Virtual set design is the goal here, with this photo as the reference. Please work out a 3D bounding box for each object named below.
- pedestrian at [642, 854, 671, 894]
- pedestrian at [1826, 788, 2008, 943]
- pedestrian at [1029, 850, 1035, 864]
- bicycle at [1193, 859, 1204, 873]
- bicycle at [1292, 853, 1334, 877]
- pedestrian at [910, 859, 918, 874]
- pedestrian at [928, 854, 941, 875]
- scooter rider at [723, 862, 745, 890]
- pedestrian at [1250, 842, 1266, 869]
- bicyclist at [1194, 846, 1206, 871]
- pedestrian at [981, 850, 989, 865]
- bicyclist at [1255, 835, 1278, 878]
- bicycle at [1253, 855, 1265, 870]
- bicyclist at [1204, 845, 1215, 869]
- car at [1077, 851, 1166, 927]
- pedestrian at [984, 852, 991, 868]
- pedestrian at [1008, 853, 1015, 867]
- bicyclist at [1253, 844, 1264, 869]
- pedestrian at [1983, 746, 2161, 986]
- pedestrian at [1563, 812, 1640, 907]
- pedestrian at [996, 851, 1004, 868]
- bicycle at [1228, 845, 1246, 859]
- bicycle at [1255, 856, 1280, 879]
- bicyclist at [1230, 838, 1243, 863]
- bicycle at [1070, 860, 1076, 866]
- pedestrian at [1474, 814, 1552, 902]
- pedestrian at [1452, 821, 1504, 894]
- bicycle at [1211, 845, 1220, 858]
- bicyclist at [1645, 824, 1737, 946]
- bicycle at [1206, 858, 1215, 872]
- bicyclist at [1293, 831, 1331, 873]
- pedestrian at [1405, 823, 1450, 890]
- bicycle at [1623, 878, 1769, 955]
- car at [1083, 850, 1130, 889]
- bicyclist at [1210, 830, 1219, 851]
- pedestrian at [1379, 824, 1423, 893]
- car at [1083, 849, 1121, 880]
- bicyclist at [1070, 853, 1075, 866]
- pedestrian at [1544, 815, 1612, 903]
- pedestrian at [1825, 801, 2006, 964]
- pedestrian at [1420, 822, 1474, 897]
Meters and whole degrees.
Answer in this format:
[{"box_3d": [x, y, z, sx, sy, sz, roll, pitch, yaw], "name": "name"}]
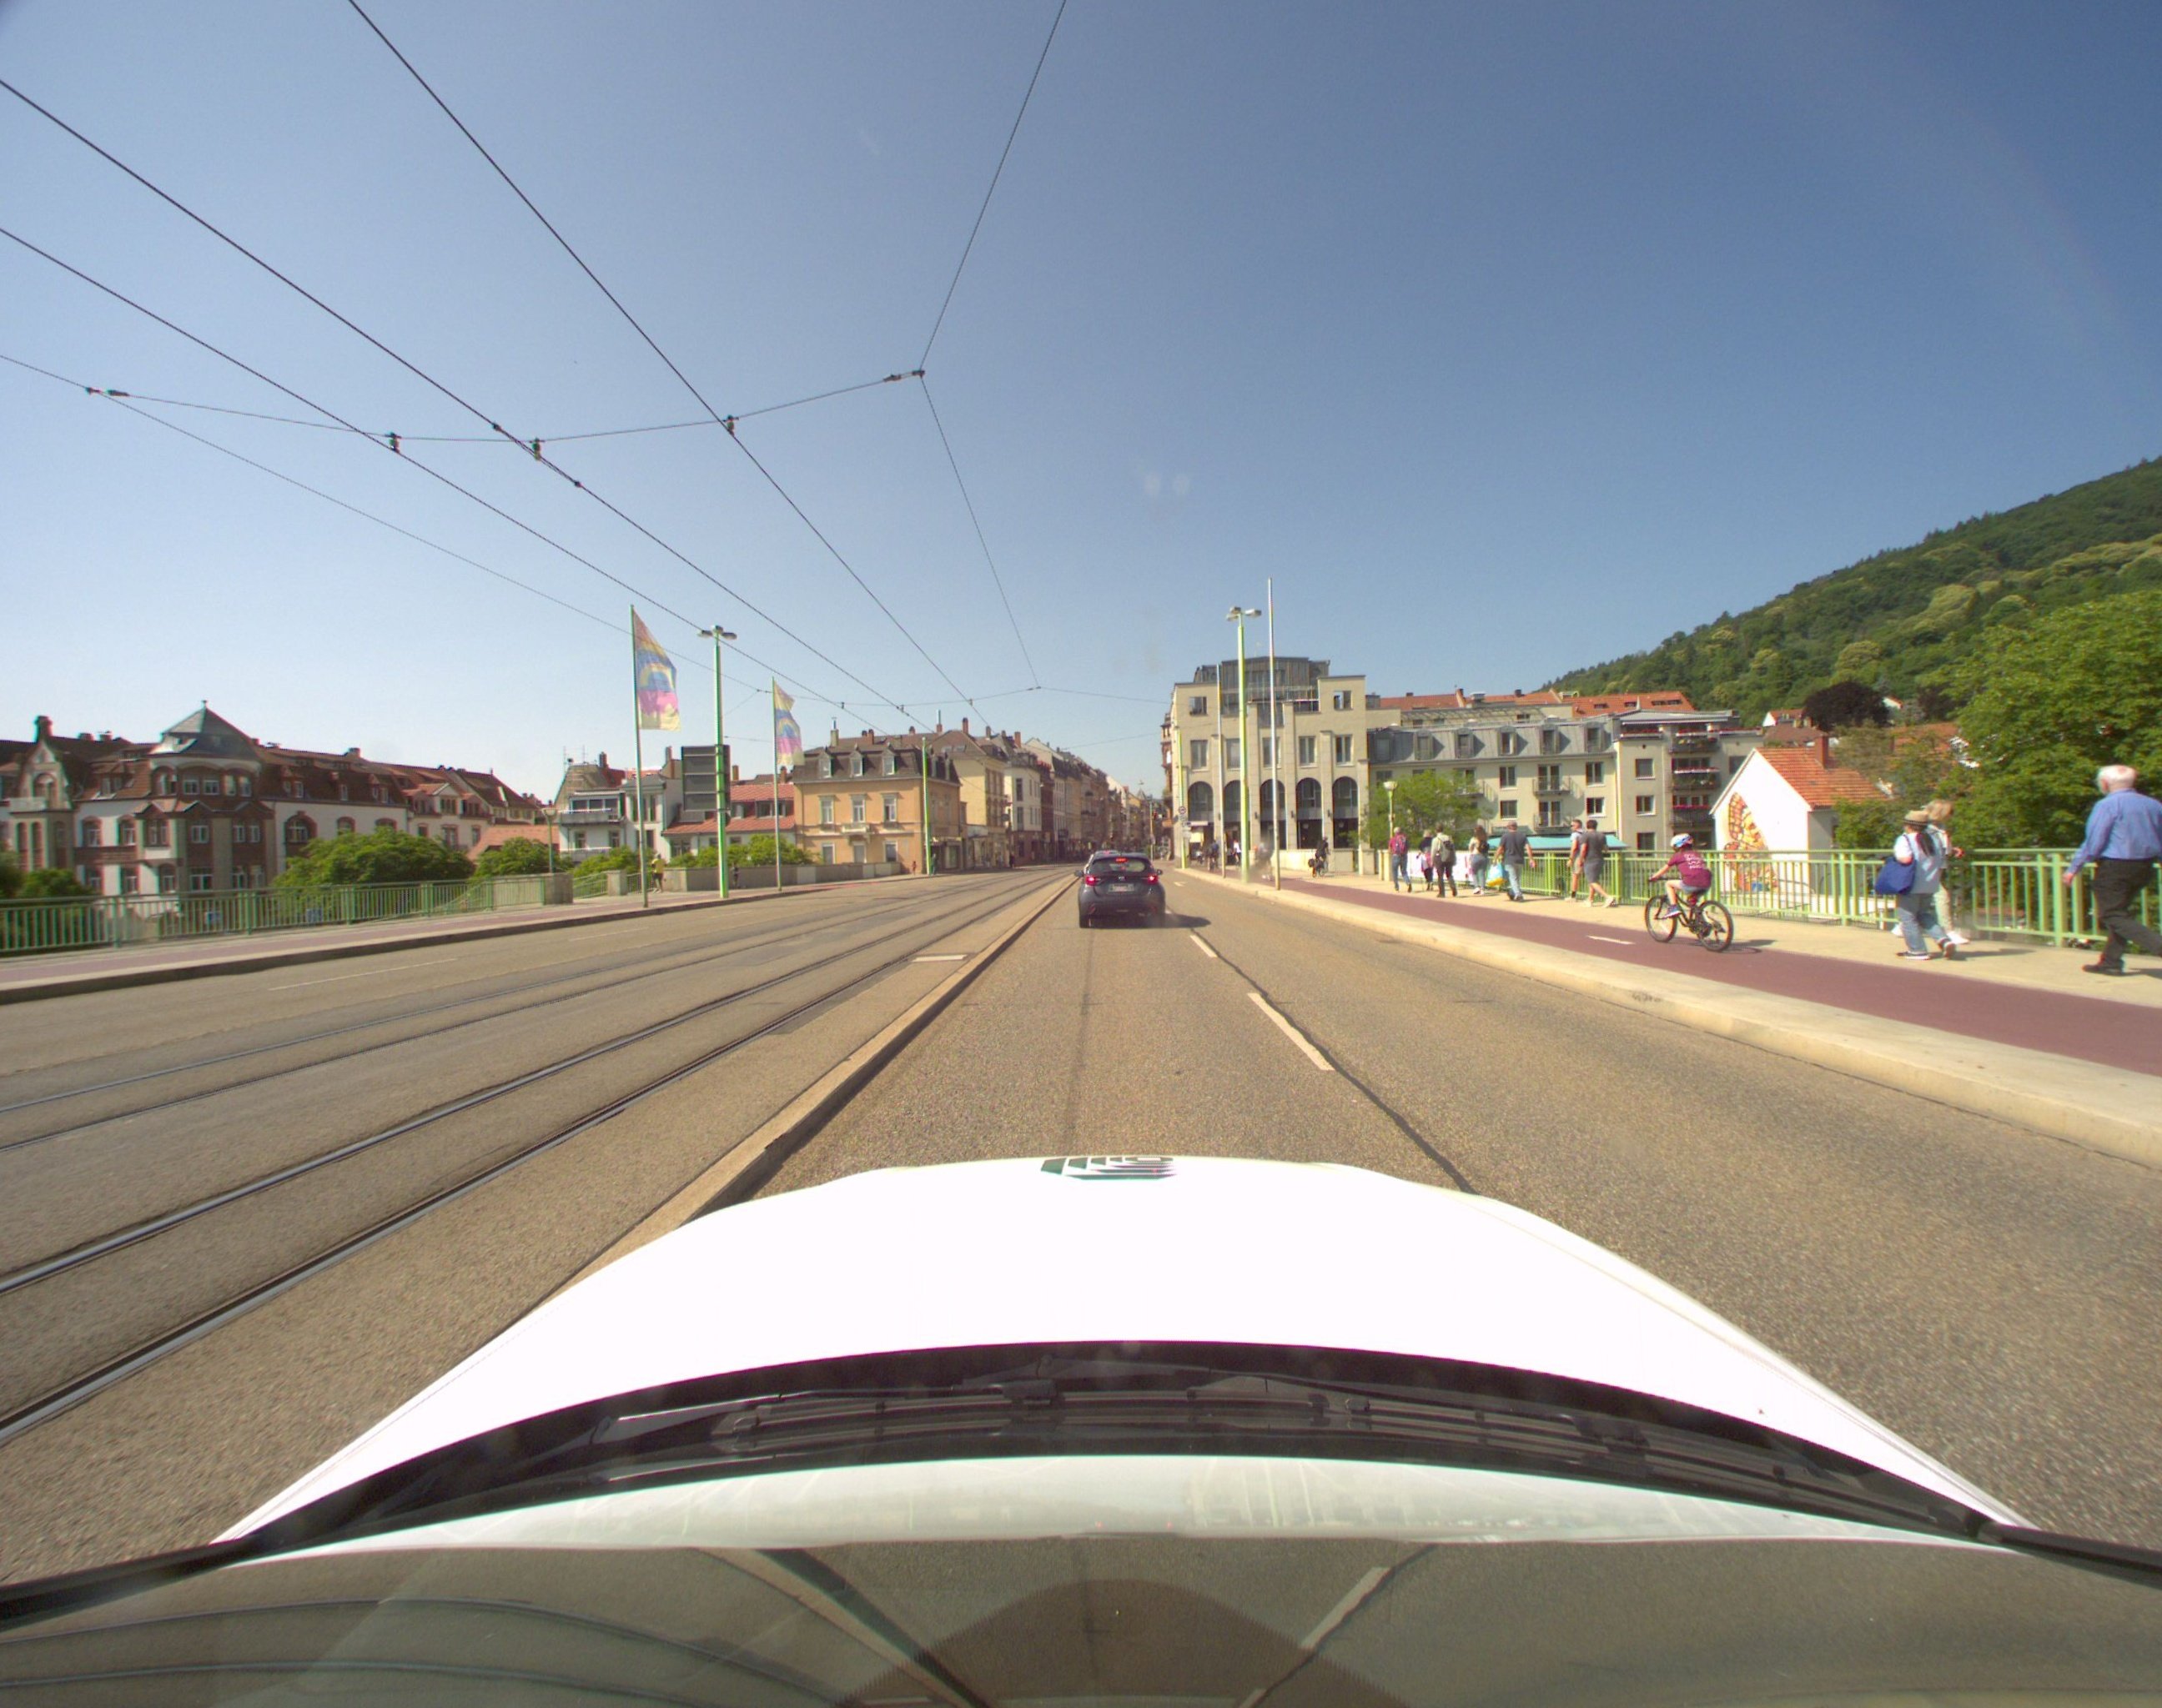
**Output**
[{"box_3d": [-19.302, 0.896, 37.065, 0.740, 1.781, 0.805, -3, 0, 14], "name": "pedestrian"}, {"box_3d": [9.734, 0.121, 9.540, 0.944, 1.662, 1.083, -3, 0, 1], "name": "pedestrian"}, {"box_3d": [-6.412, 0.362, 107.009, 0.734, 1.766, 0.787, -1, 1, 2], "name": "pedestrian"}, {"box_3d": [12.566, 1.270, 86.898, 1.105, 1.420, 3.014, 3, 0, 9], "name": "bicycle"}, {"box_3d": [9.712, 0.455, 34.051, 1.838, 0.882, 0.791, -3, 0, -41], "name": "bicycle"}, {"box_3d": [-13.287, 1.005, 64.855, 0.409, 1.146, 0.546, 3, 0, 9], "name": "pedestrian"}, {"box_3d": [-11.903, 0.873, 66.241, 0.758, 1.654, 0.713, 3, 0, 8], "name": "pedestrian"}, {"box_3d": [-17.303, 1.096, 40.597, 0.763, 1.315, 0.600, 2, 0, 13], "name": "scooter rider"}, {"box_3d": [10.883, 0.082, 50.004, 0.736, 1.614, 1.016, 3, 0, 1], "name": "pedestrian"}, {"box_3d": [12.761, 0.474, 87.244, 1.221, 2.529, 1.107, 3, 0, 8], "name": "bicyclist"}, {"box_3d": [-10.222, 0.384, 86.595, 0.646, 1.602, 0.566, 3, 2, 2], "name": "pedestrian"}, {"box_3d": [7.582, 0.100, 33.335, 0.699, 1.695, 0.925, -3, 0, 2], "name": "bicyclist"}, {"box_3d": [9.883, 0.463, 45.210, 0.415, 0.765, 0.962, -3, 0, 2], "name": "bicycle"}, {"box_3d": [7.393, 0.152, 46.752, 0.535, 1.316, 0.673, -4, 0, 7], "name": "bicyclist"}, {"box_3d": [0.836, 0.670, 17.576, 1.713, 1.473, 3.659, 0, 0, 2], "name": "car"}, {"box_3d": [-9.526, 0.609, 82.963, 0.646, 1.602, 0.566, 3, 2, 2], "name": "pedestrian"}, {"box_3d": [-7.952, 0.662, 93.557, 0.646, 1.602, 0.566, 3, 2, 2], "name": "pedestrian"}, {"box_3d": [9.857, 0.138, 45.231, 0.420, 1.383, 0.444, -3, 0, 2], "name": "bicyclist"}, {"box_3d": [8.883, 0.077, 7.003, 0.922, 1.897, 1.137, -2, 0, 1], "name": "pedestrian"}, {"box_3d": [9.893, 0.094, 15.524, 0.736, 1.718, 1.016, -3, 0, 1], "name": "pedestrian"}, {"box_3d": [-8.712, 0.614, 87.754, 0.733, 1.766, 0.787, 3, 0, 2], "name": "pedestrian"}, {"box_3d": [9.168, -0.095, 47.941, 0.420, 0.765, 0.951, -3, 0, -37], "name": "bicycle"}, {"box_3d": [7.613, 0.556, 33.345, 0.701, 0.882, 1.526, -3, 0, 3], "name": "bicycle"}, {"box_3d": [9.168, -0.215, 47.928, 0.487, 1.466, 0.438, -3, 0, -37], "name": "bicyclist"}, {"box_3d": [-1.071, 1.216, 108.743, 0.618, 0.716, 1.772, 0, 1, 2], "name": "bicycle"}, {"box_3d": [9.324, 0.087, 17.620, 0.974, 1.777, 1.208, -3, 0, 1], "name": "pedestrian"}, {"box_3d": [9.968, 0.084, 20.471, 0.736, 1.746, 1.016, -3, 0, 1], "name": "pedestrian"}, {"box_3d": [8.269, -0.166, 50.072, 0.414, 0.765, 0.963, -3, 0, 5], "name": "bicycle"}, {"box_3d": [7.279, 0.358, 9.740, 0.532, 1.383, 0.669, -3, 0, 2], "name": "bicyclist"}, {"box_3d": [7.445, 0.619, 46.701, 0.414, 0.765, 1.207, -3, 0, 6], "name": "bicycle"}, {"box_3d": [9.668, -0.075, 34.036, 0.929, 1.695, 1.129, -2, 0, -40], "name": "bicyclist"}, {"box_3d": [9.500, 0.065, 22.370, 0.736, 1.777, 1.016, -3, 0, 1], "name": "pedestrian"}, {"box_3d": [7.304, 0.710, 9.770, 0.512, 0.765, 1.661, -3, 0, 2], "name": "bicycle"}, {"box_3d": [1.089, 0.609, 34.683, 1.890, 1.530, 4.001, 0, 0, 2], "name": "car"}, {"box_3d": [8.229, -0.819, 50.103, 0.420, 1.256, 0.444, -3, 0, 5], "name": "bicyclist"}, {"box_3d": [8.723, 0.109, 22.243, 0.736, 1.802, 1.016, -3, 0, 1], "name": "pedestrian"}, {"box_3d": [1.115, 0.512, 42.876, 1.890, 1.530, 4.001, 0, 0, 2], "name": "car"}, {"box_3d": [-1.078, 0.745, 108.669, 0.625, 1.650, 0.622, 0, 1, 2], "name": "bicyclist"}, {"box_3d": [10.174, 0.089, 16.709, 0.736, 1.718, 1.016, -2, 0, 1], "name": "pedestrian"}, {"box_3d": [8.512, 0.276, 8.356, 0.826, 1.529, 0.933, -3, 0, 1], "name": "pedestrian"}, {"box_3d": [8.797, 0.132, 19.629, 0.752, 1.718, 1.073, -3, 0, 1], "name": "pedestrian"}]
